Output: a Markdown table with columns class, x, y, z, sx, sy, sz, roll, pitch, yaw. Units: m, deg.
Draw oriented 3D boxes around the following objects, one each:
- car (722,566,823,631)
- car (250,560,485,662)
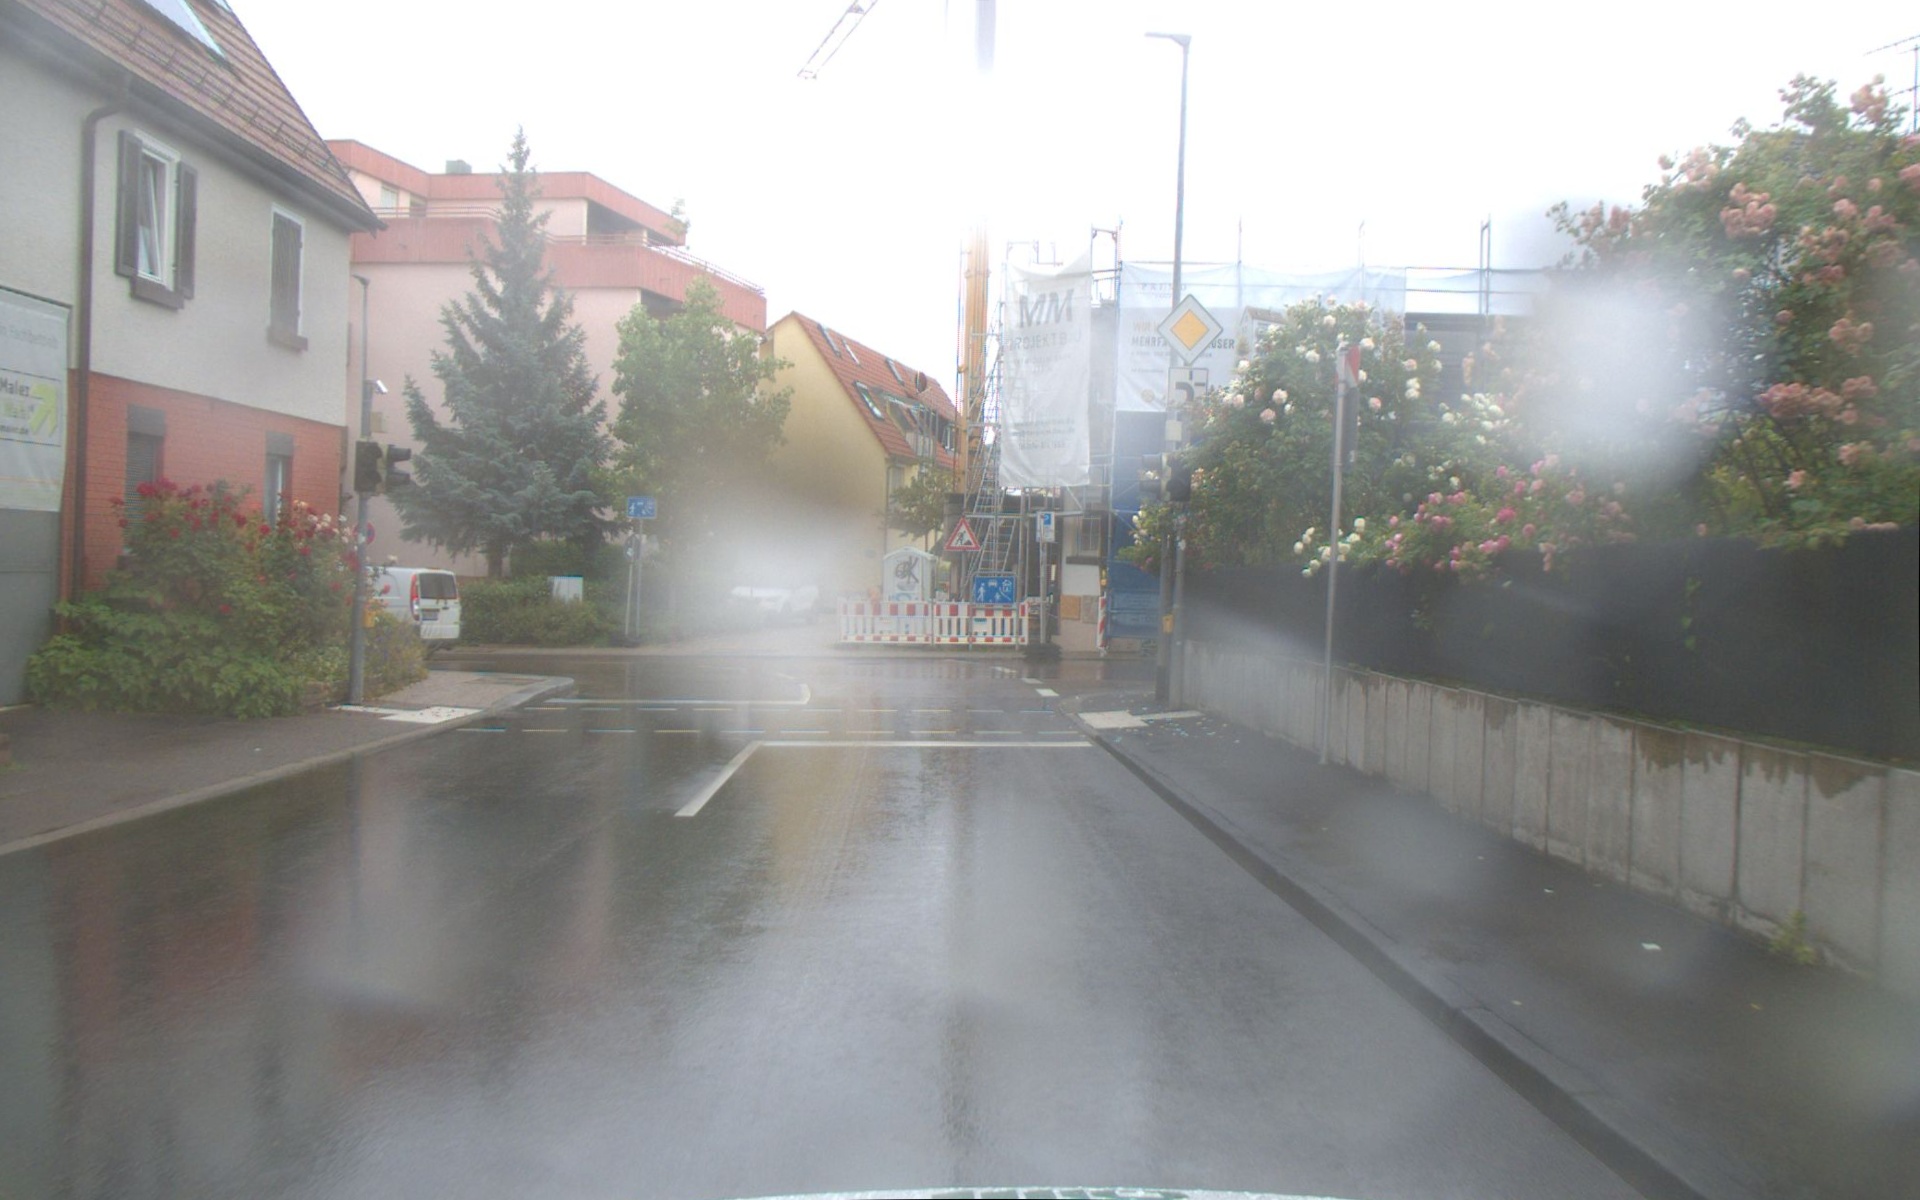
| class | x | y | z | sx | sy | sz | roll | pitch | yaw |
| --- | --- | --- | --- | --- | --- | --- | --- | --- | --- |
| car | -5.314 | -0.081 | 47.267 | 1.566 | 1.707 | 3.942 | 3 | 2 | 13 |
| car | -12.024 | 0.215 | 33.665 | 3.902 | 1.902 | 2.190 | 1 | 0 | 14 |
